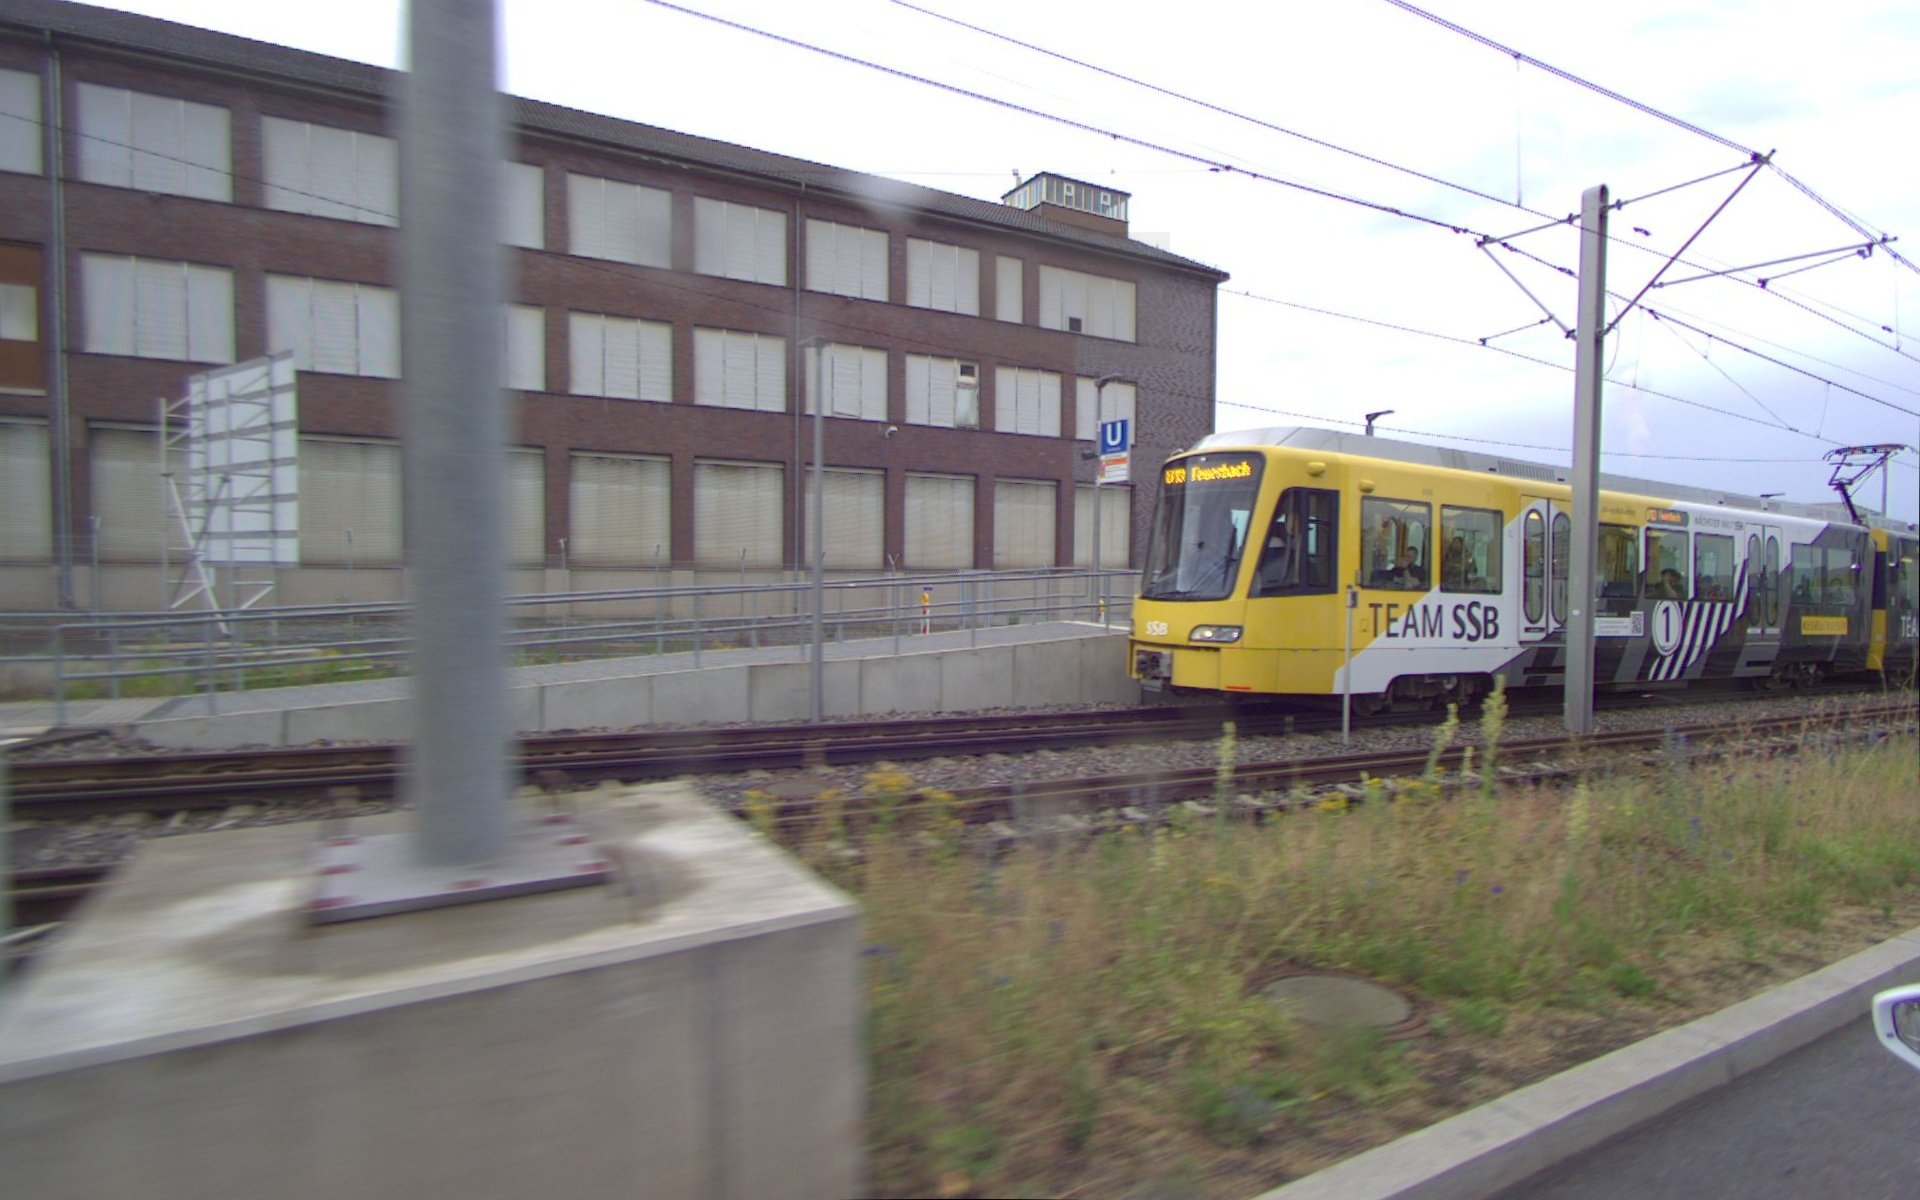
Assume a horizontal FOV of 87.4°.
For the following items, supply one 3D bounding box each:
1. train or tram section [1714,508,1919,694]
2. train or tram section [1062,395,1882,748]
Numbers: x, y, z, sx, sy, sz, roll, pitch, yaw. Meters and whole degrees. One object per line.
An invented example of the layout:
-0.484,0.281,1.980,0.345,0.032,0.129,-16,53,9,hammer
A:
26.783,0.159,27.651,19.077,3.938,2.938,1,1,-32,train or tram section
10.454,-0.172,17.530,19.349,3.938,2.939,1,1,-31,train or tram section
